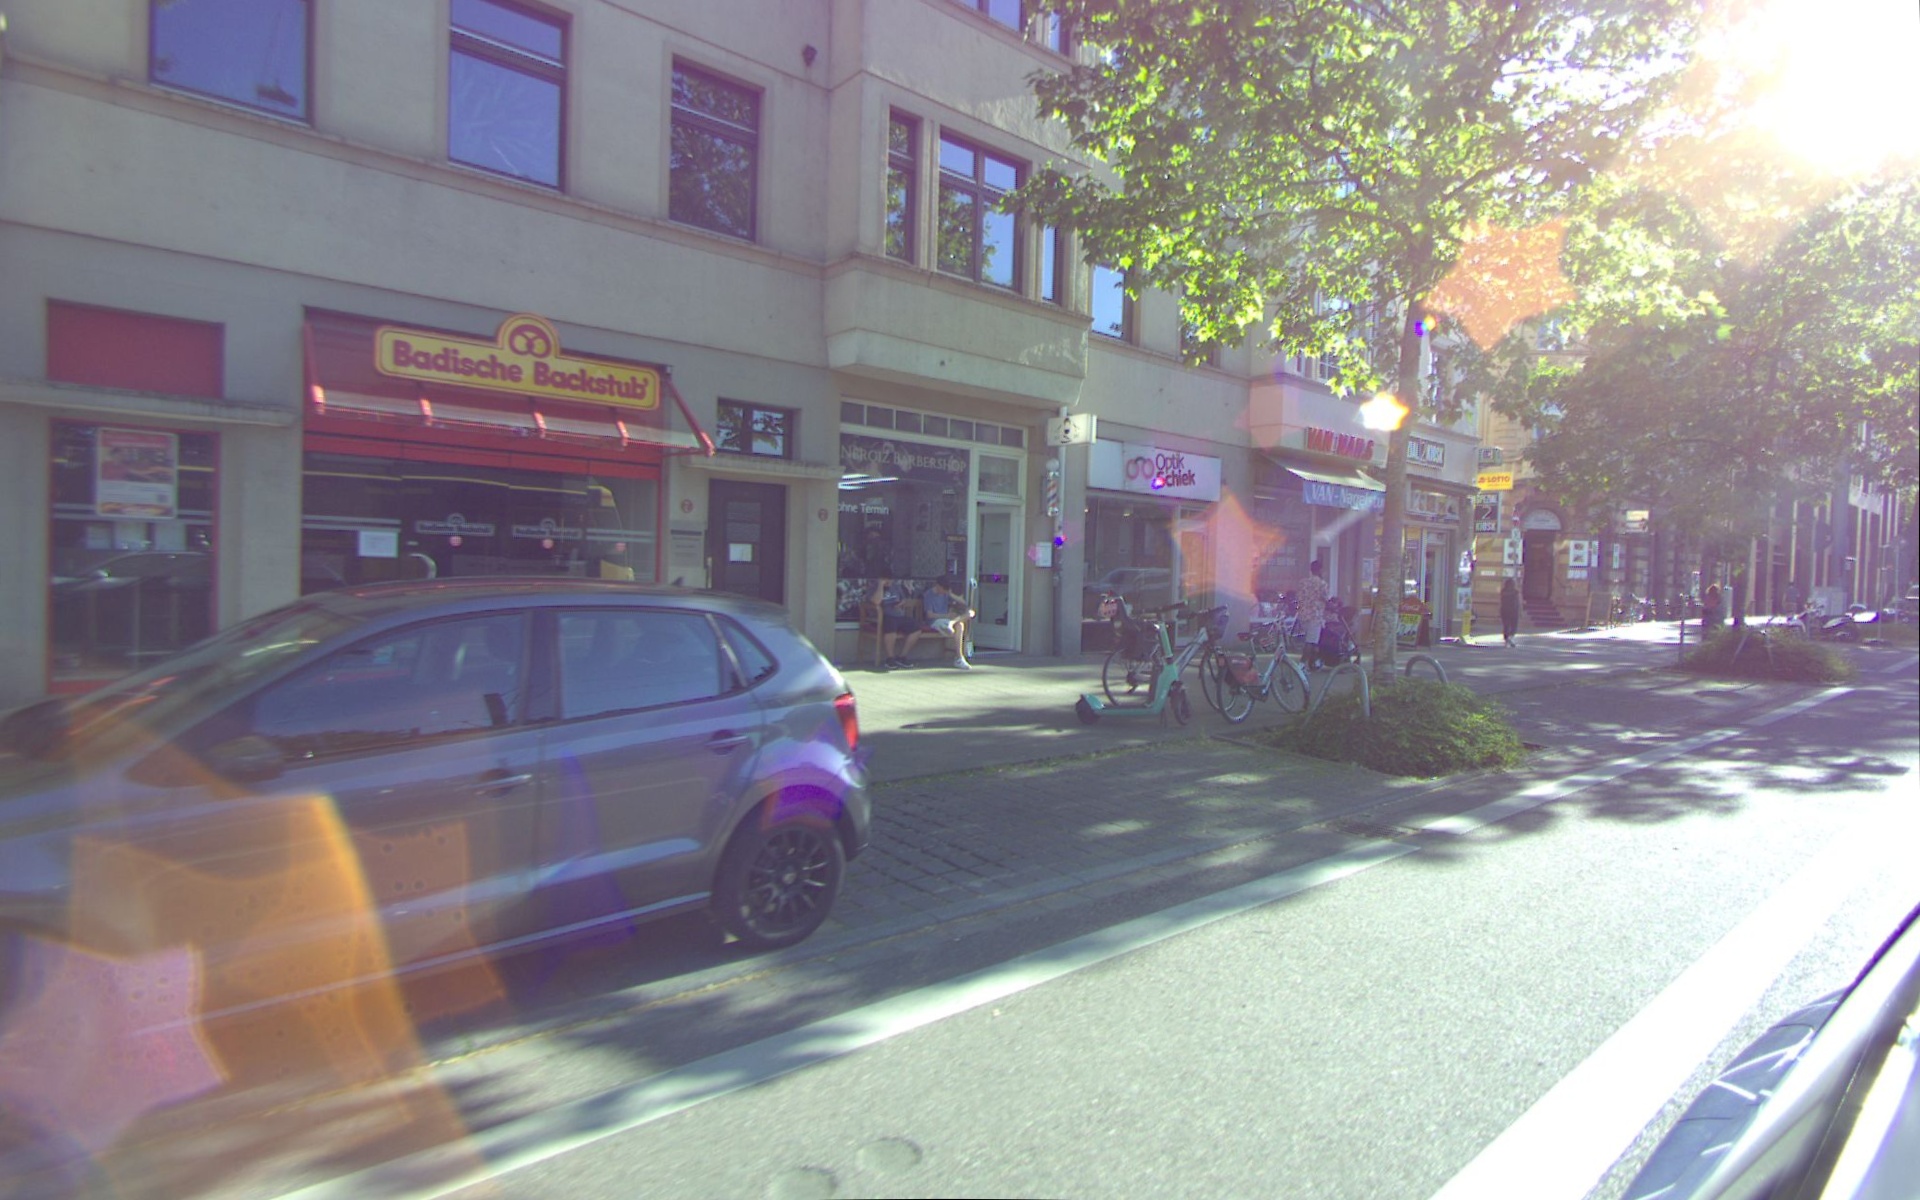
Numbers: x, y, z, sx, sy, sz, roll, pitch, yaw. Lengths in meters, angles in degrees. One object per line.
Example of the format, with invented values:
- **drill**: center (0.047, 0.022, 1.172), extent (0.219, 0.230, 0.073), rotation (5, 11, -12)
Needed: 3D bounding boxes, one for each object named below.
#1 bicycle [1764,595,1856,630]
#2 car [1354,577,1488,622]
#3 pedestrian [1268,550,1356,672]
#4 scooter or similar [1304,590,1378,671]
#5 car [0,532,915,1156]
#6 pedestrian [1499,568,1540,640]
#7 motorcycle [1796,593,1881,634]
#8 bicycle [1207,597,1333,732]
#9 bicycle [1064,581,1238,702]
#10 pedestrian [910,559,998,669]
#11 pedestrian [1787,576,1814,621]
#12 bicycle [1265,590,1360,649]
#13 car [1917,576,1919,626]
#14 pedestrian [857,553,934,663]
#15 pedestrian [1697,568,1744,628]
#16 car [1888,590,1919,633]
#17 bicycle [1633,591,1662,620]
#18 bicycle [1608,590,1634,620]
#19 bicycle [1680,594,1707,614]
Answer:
- **bicycle**: center (27.389, 0.390, 32.637), extent (0.447, 1.107, 2.227), rotation (0, 0, -39)
- **car**: center (15.774, -0.050, 34.776), extent (1.605, 1.429, 3.922), rotation (0, 1, -35)
- **pedestrian**: center (5.230, 0.139, 15.038), extent (0.901, 1.725, 0.860), rotation (0, 3, -43)
- **scooter or similar**: center (5.930, 0.452, 15.756), extent (0.835, 1.186, 0.745), rotation (0, 4, -44)
- **car**: center (-2.180, 0.574, 3.796), extent (3.735, 1.520, 1.698), rotation (0, 4, -41)
- **pedestrian**: center (12.899, 0.083, 23.339), extent (0.553, 1.642, 0.682), rotation (0, 0, -43)
- **motorcycle**: center (27.311, 0.402, 31.488), extent (0.507, 1.246, 1.951), rotation (0, 0, -43)
- **bicycle**: center (3.254, 0.620, 10.531), extent (1.872, 1.229, 0.392), rotation (-2, 4, -45)
- **bicycle**: center (2.020, 0.421, 10.672), extent (1.834, 1.222, 0.387), rotation (0, 0, -18)
- **pedestrian**: center (-0.085, 0.162, 13.438), extent (0.842, 1.386, 0.787), rotation (0, 2, -40)
- **pedestrian**: center (34.941, -0.080, 42.059), extent (0.878, 1.850, 0.645), rotation (0, 0, -35)
- **bicycle**: center (6.770, 0.338, 19.329), extent (2.577, 1.036, 0.491), rotation (-1, 2, -41)
- **car**: center (41.248, 0.031, 41.931), extent (4.641, 2.039, 1.859), rotation (-1, 0, -41)
- **pedestrian**: center (-0.820, 0.090, 12.935), extent (0.806, 1.349, 0.536), rotation (0, 2, -40)
- **pedestrian**: center (26.448, -0.097, 35.198), extent (1.027, 2.039, 1.090), rotation (0, 1, -40)
- **car**: center (35.769, 0.396, 37.342), extent (4.627, 1.534, 1.821), rotation (-1, 0, -42)
- **bicycle**: center (25.071, 0.184, 36.903), extent (1.850, 1.010, 0.415), rotation (-1, 1, -41)
- **bicycle**: center (23.461, 0.151, 35.900), extent (1.700, 1.033, 0.280), rotation (-1, 3, -41)
- **bicycle**: center (30.393, 0.175, 41.928), extent (1.634, 0.783, 0.550), rotation (-1, 3, -41)
